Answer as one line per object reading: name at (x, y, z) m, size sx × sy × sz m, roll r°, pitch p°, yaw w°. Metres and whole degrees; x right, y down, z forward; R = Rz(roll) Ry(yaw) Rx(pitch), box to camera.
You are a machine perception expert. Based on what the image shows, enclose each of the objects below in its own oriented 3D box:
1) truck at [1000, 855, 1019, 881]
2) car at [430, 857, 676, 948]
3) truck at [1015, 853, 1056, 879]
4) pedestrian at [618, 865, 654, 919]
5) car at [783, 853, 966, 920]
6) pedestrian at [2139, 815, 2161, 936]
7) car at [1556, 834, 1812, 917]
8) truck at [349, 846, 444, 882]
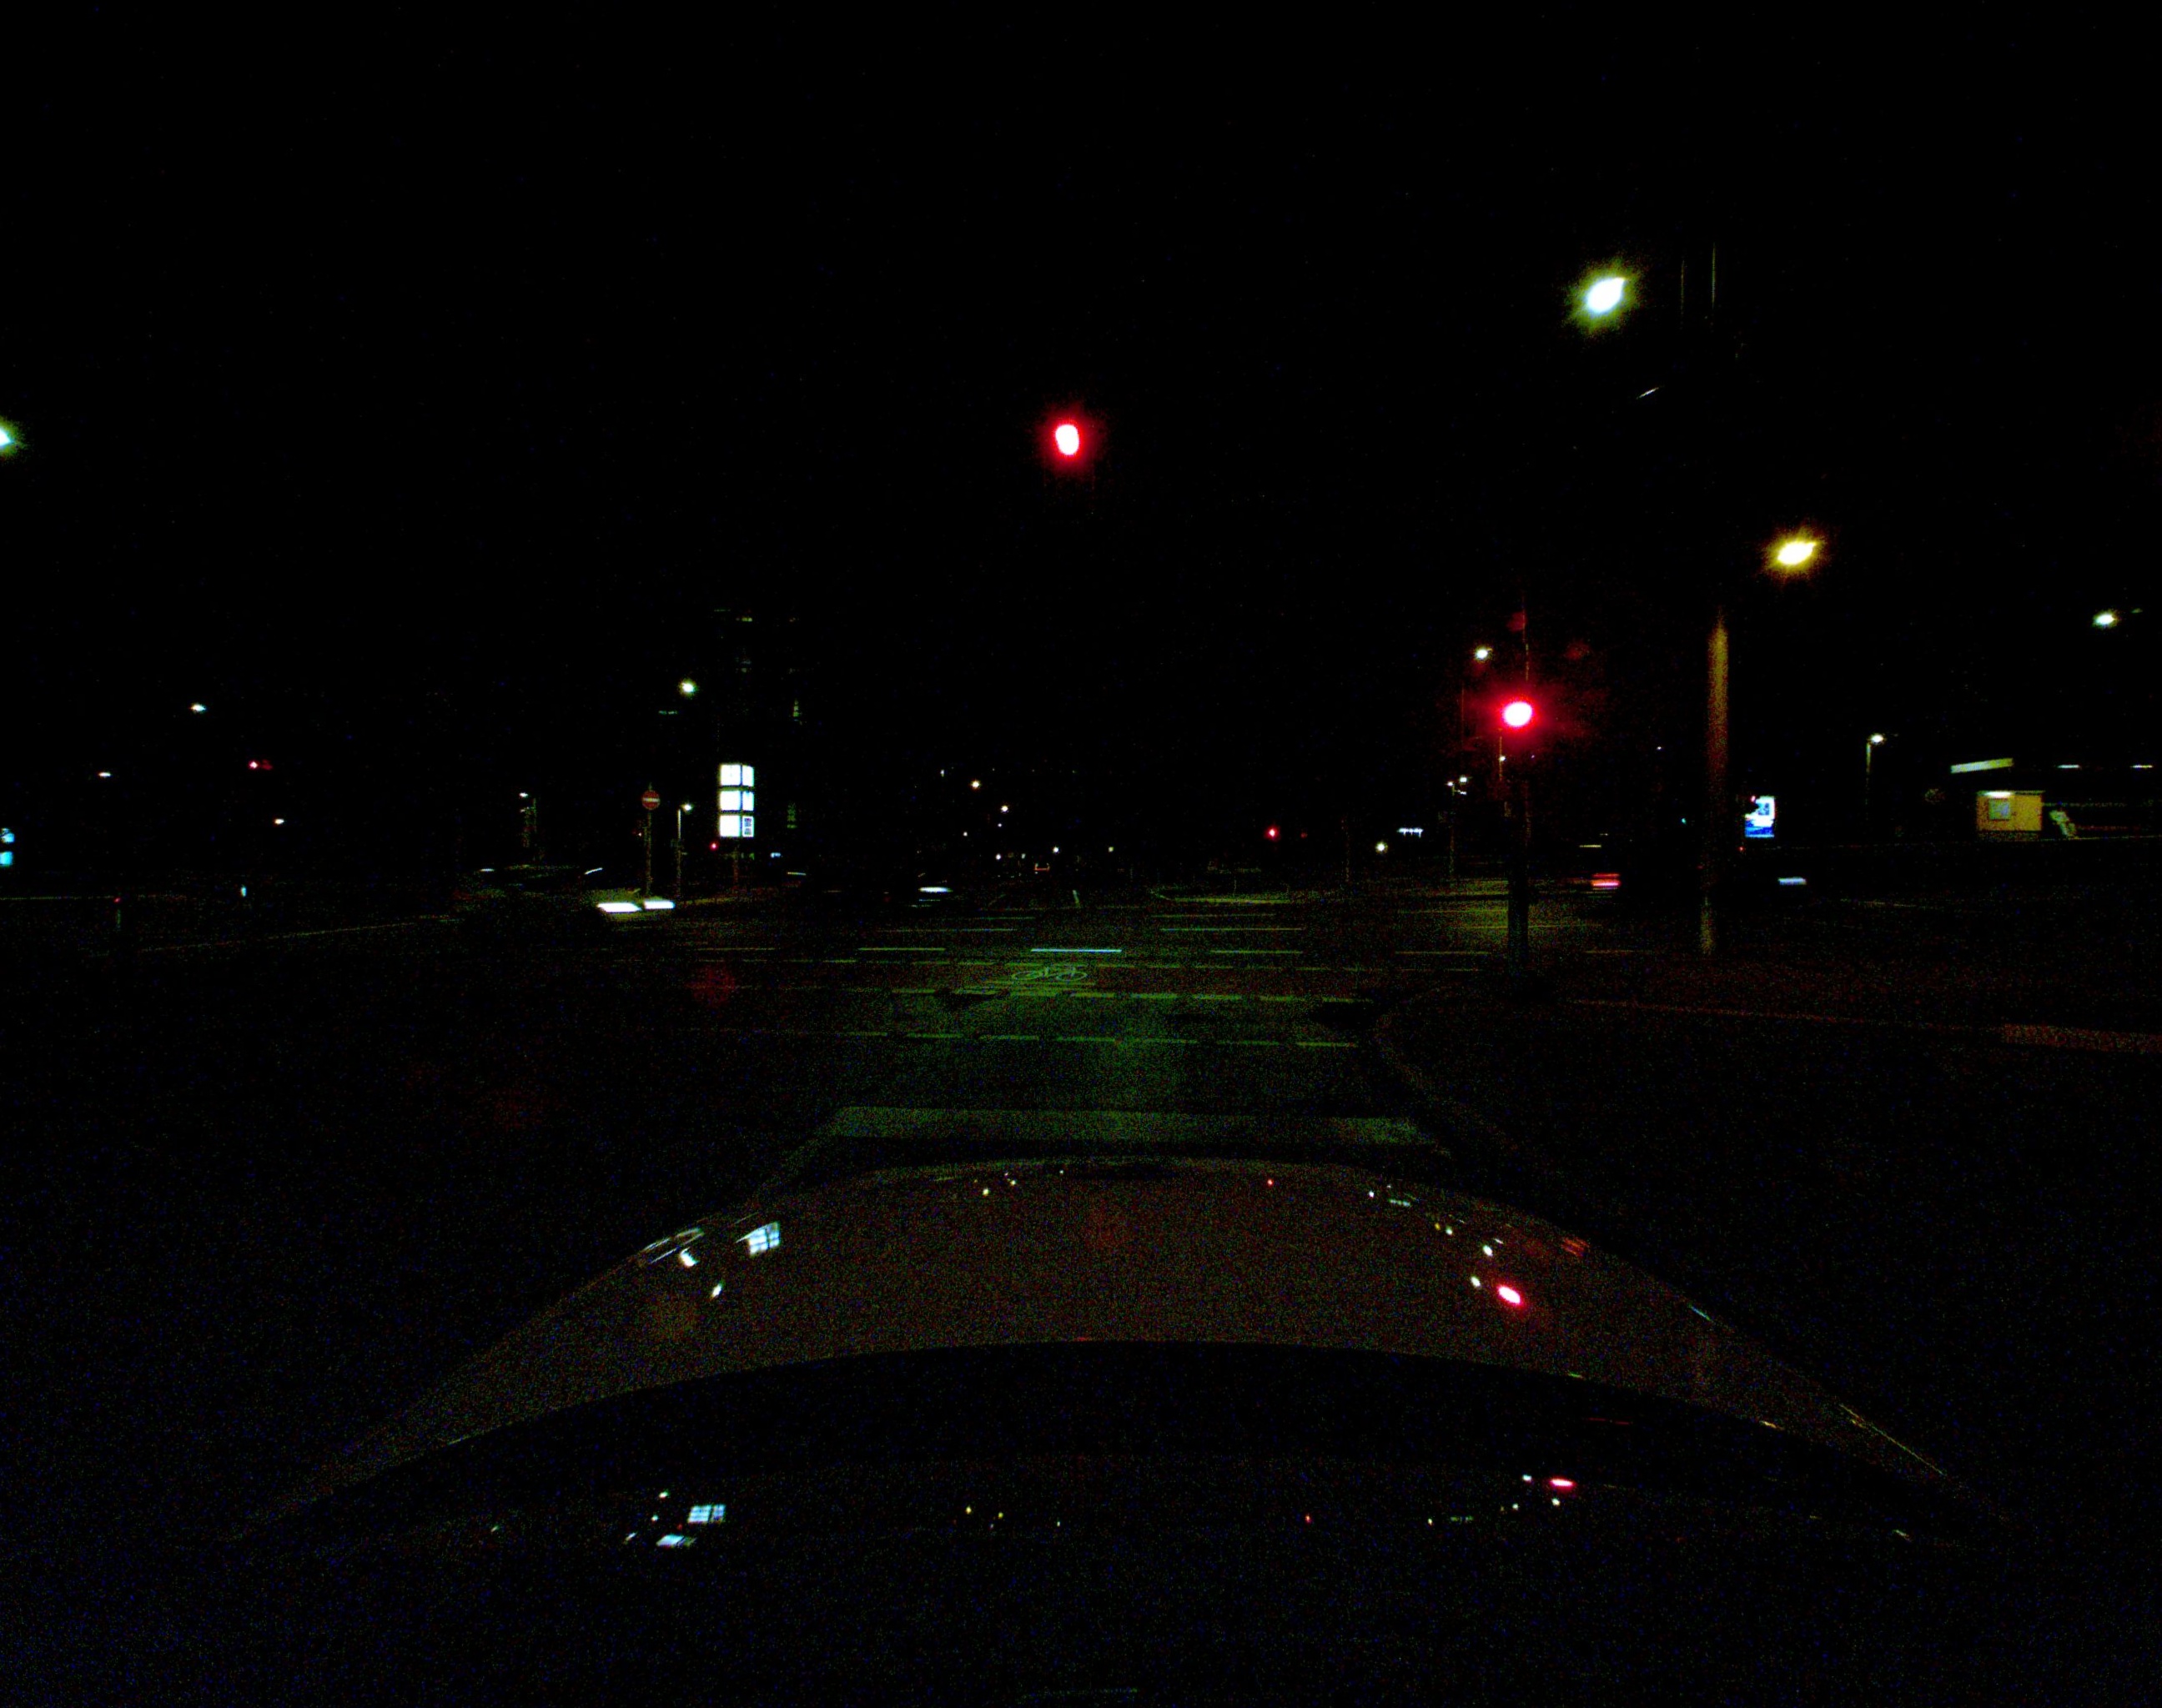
truck at (-10.523, 1.967, 119.615) m, size 2.580 × 3.707 × 5.723 m, roll 0°, pitch -1°, yaw -7°
car at (-10.856, 0.971, 16.914) m, size 3.967 × 1.662 × 1.813 m, roll -2°, pitch -1°, yaw 5°
truck at (-8.559, 2.235, 151.643) m, size 4.835 × 4.547 × 12.591 m, roll 0°, pitch -1°, yaw -17°
pedestrian at (-13.881, 1.174, 25.441) m, size 0.667 × 1.634 × 0.862 m, roll 0°, pitch -1°, yaw -3°
car at (-5.592, 0.856, 22.359) m, size 4.424 × 1.659 × 1.867 m, roll -1°, pitch -1°, yaw 5°
pedestrian at (15.886, 0.288, 11.466) m, size 0.752 × 1.745 × 0.834 m, roll -3°, pitch -2°, yaw 1°
car at (13.323, 0.435, 18.209) m, size 4.323 × 1.651 × 1.813 m, roll -1°, pitch 2°, yaw 4°
truck at (-59.867, 0.888, 71.315) m, size 5.873 × 3.088 × 2.915 m, roll 0°, pitch -1°, yaw 3°
